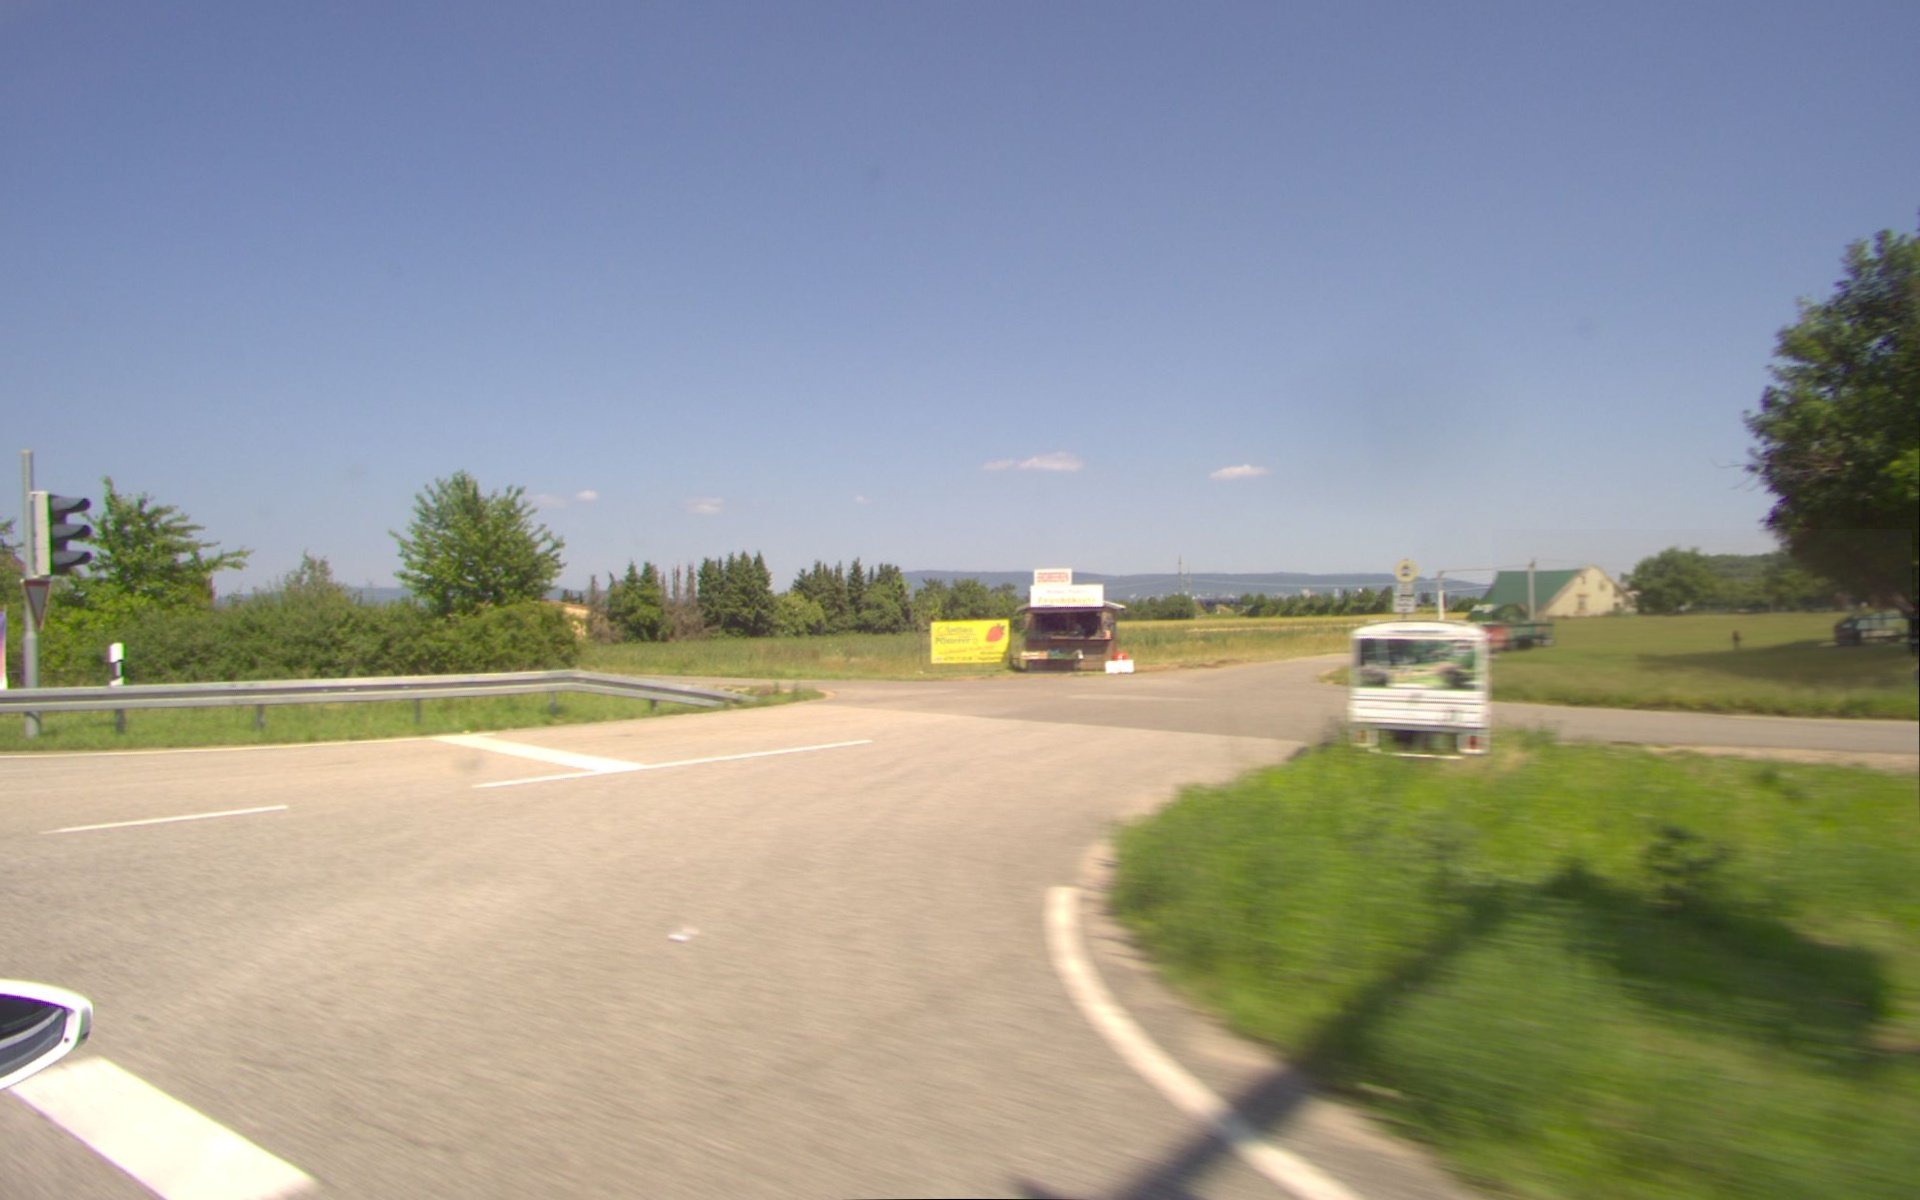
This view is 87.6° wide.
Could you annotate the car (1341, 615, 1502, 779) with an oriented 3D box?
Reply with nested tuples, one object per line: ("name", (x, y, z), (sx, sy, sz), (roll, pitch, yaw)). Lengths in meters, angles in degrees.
("car", (5.112, 0.957, 11.080), (1.378, 1.519, 3.336), (-1, -2, 26))

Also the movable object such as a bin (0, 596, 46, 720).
("movable object such as a bin", (-19.587, 1.072, 18.261), (1.258, 2.360, 4.093), (-1, -3, 28))

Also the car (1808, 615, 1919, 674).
("car", (25.306, 1.174, 26.818), (3.834, 1.547, 1.750), (-2, -1, 37))
